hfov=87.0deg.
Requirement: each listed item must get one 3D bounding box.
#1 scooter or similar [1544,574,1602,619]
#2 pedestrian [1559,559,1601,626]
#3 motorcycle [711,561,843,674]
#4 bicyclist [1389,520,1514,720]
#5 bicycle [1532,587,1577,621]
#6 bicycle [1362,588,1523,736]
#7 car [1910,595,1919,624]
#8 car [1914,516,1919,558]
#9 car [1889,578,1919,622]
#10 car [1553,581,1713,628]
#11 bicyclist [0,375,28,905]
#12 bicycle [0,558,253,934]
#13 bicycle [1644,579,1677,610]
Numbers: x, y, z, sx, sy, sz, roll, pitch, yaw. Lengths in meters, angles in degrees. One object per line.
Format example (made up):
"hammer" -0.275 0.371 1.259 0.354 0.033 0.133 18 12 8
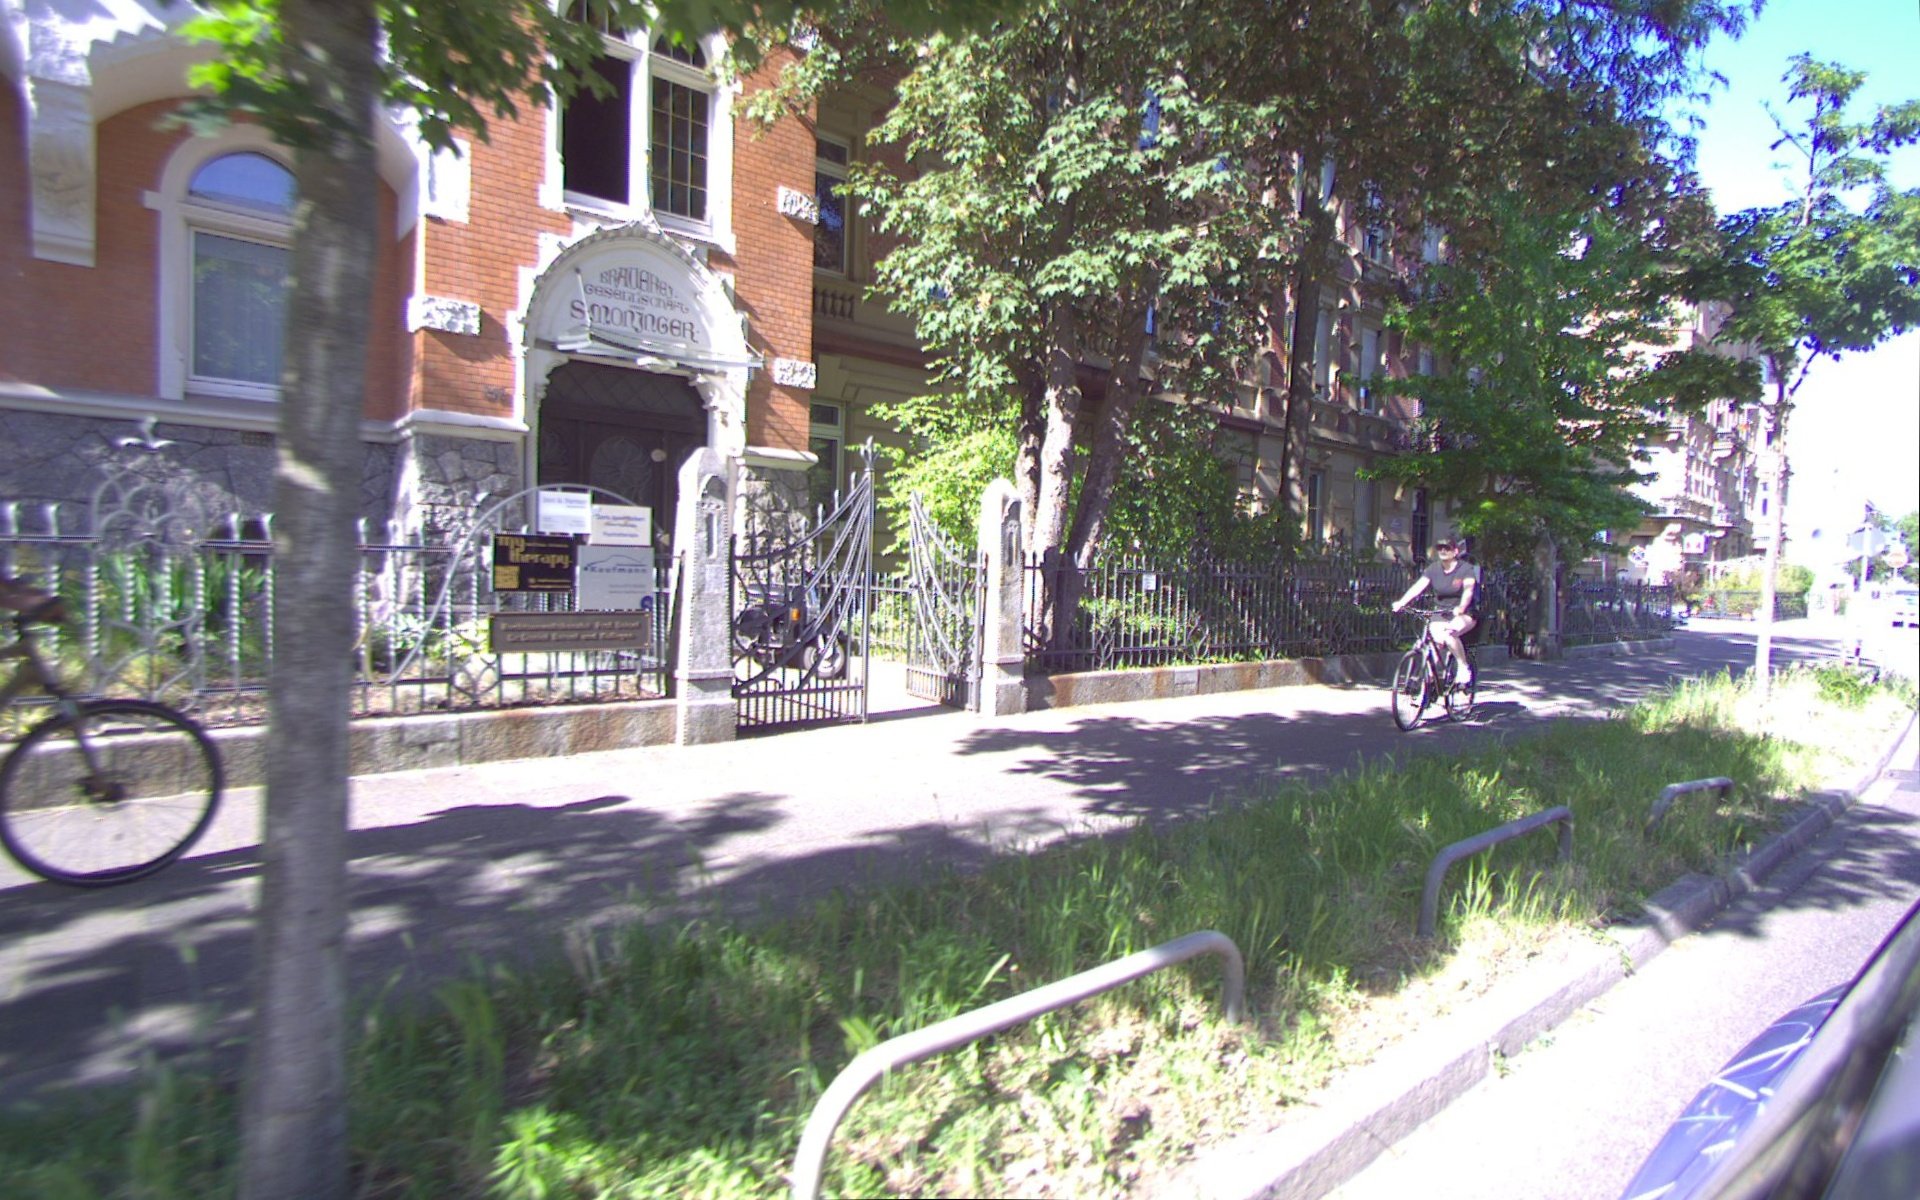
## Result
"scooter or similar" 18.157 -0.104 30.000 1.380 1.278 0.762 0 3 -24
"pedestrian" 18.373 -0.230 30.000 0.681 1.915 0.767 -3 2 3
"motorcycle" -1.998 0.131 10.804 0.766 1.044 1.884 -1 4 -31
"bicyclist" 4.509 0.158 9.284 0.874 1.715 0.646 0 4 -43
"bicycle" 20.997 0.148 35.753 1.981 1.148 0.585 1 1 -36
"bicycle" 4.457 0.513 9.280 1.812 1.190 0.653 0 5 -44
"car" 57.771 0.569 59.861 4.618 1.709 1.891 0 1 -42
"car" 37.992 -2.365 38.763 4.038 1.458 1.844 0 4 -44
"car" 43.739 -0.009 46.224 3.503 1.896 1.691 0 3 -44
"car" 24.354 0.129 36.768 2.010 1.434 4.419 0 3 -38
"bicyclist" -3.539 0.114 3.234 0.807 1.710 0.621 0 5 -44
"bicycle" -3.508 0.469 3.301 1.887 1.190 0.617 0 5 -44
"bicycle" 28.012 -0.220 40.462 0.734 1.148 1.987 2 3 45
